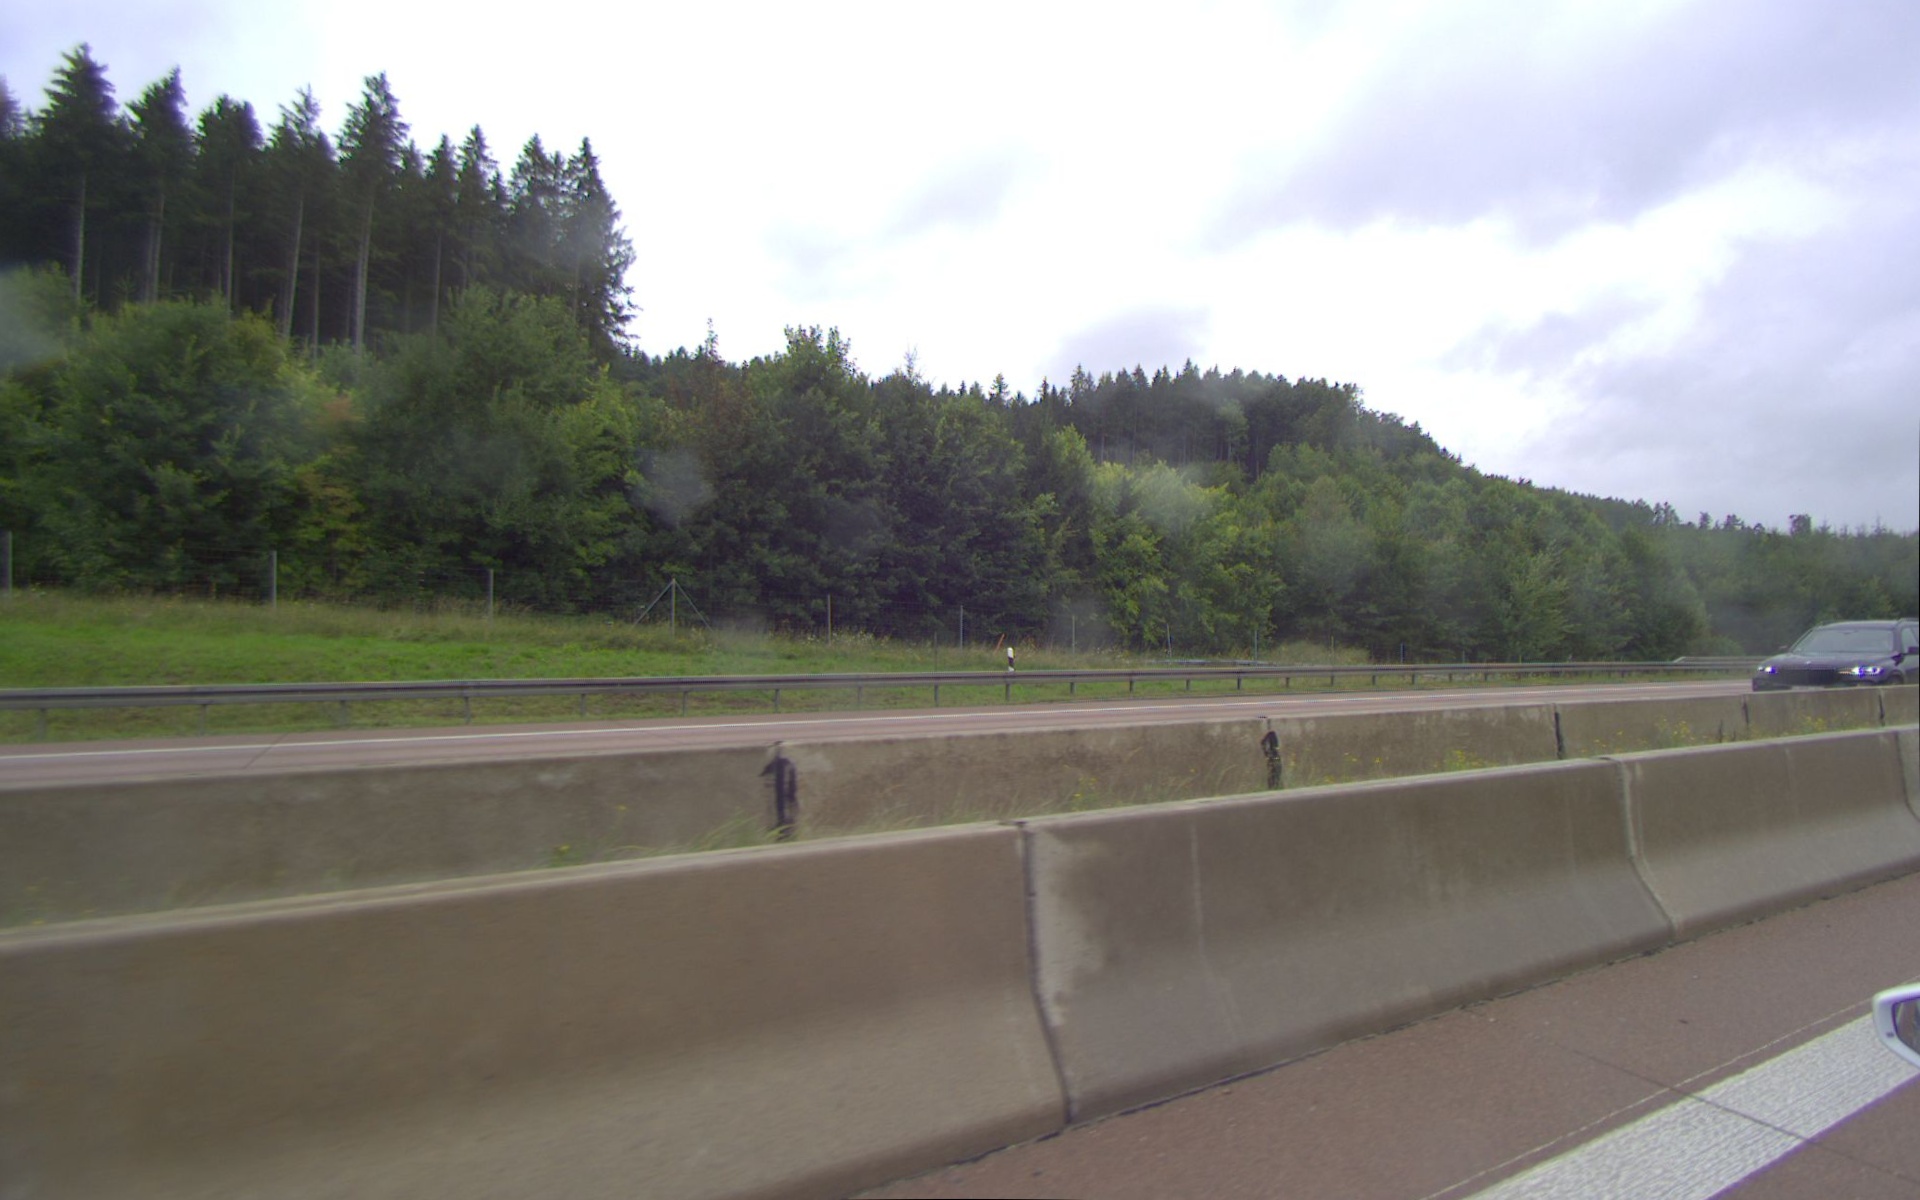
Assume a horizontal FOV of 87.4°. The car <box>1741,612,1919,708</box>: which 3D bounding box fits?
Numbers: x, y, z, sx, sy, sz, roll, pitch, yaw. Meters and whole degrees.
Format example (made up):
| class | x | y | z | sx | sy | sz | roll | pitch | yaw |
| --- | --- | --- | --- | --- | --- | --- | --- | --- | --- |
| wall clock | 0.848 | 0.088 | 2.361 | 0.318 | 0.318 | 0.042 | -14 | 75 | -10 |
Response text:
| class | x | y | z | sx | sy | sz | roll | pitch | yaw |
| --- | --- | --- | --- | --- | --- | --- | --- | --- | --- |
| car | 16.947 | 1.061 | 18.946 | 4.750 | 1.572 | 1.856 | 1 | 0 | -30 |
